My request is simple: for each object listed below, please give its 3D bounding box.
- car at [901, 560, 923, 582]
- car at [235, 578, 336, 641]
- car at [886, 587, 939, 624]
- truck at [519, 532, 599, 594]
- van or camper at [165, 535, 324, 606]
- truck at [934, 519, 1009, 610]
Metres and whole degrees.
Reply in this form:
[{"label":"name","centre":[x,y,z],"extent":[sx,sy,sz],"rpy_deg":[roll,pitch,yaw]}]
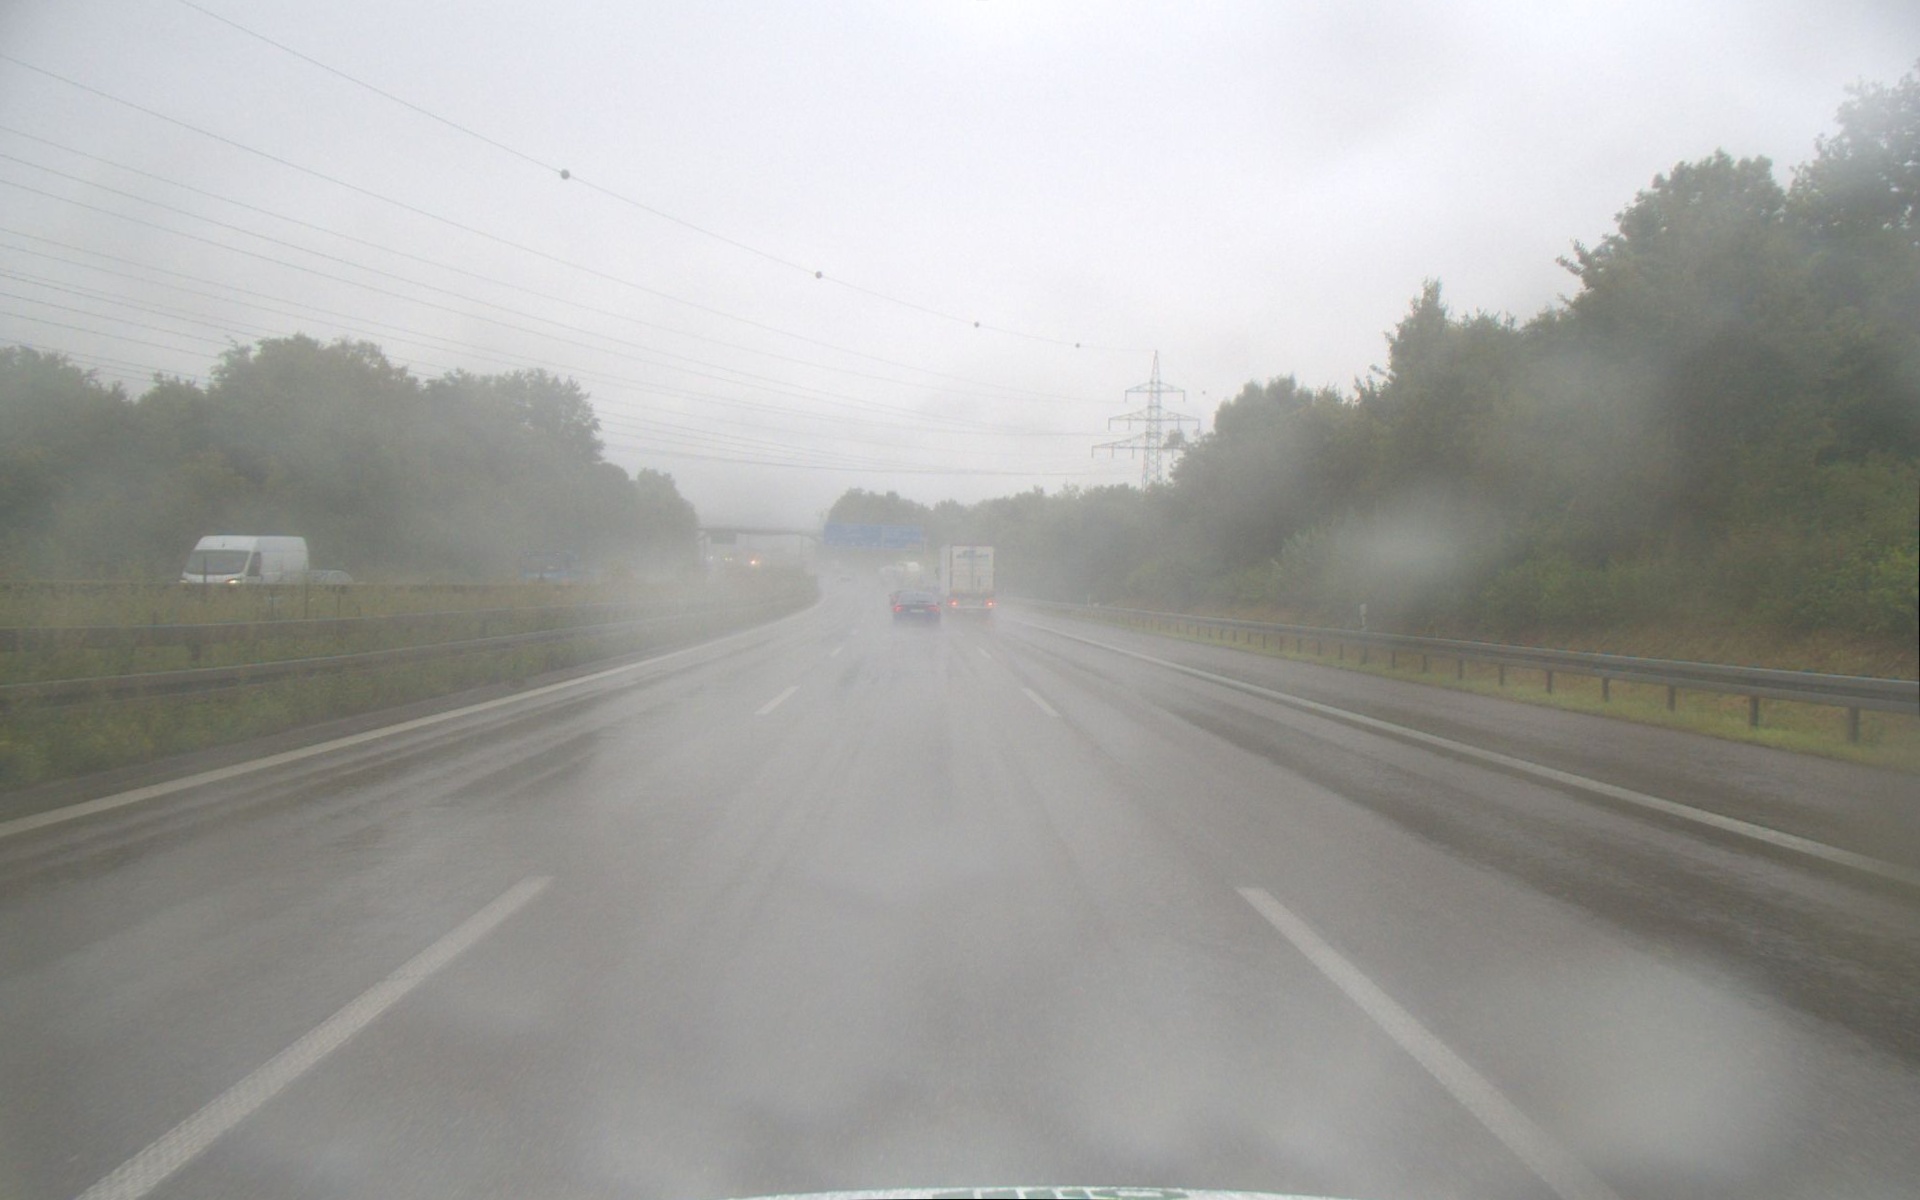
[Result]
[{"label":"car","centre":[-5.391,-3.212,184.776],"extent":[2.345,2.312,5.000],"rpy_deg":[3,1,-2]},{"label":"car","centre":[-17.329,0.219,42.637],"extent":[1.279,1.530,3.257],"rpy_deg":[-2,1,-1]},{"label":"car","centre":[-1.732,0.191,61.367],"extent":[1.713,1.233,4.001],"rpy_deg":[3,0,1]},{"label":"truck","centre":[-23.925,-2.165,99.051],"extent":[3.007,3.333,7.389],"rpy_deg":[4,0,-2]},{"label":"van or camper","centre":[-22.852,-0.939,53.205],"extent":[2.232,2.006,6.758],"rpy_deg":[3,1,-1]},{"label":"truck","centre":[0.612,-2.055,100.781],"extent":[4.169,5.059,17.340],"rpy_deg":[0,1,0]}]
